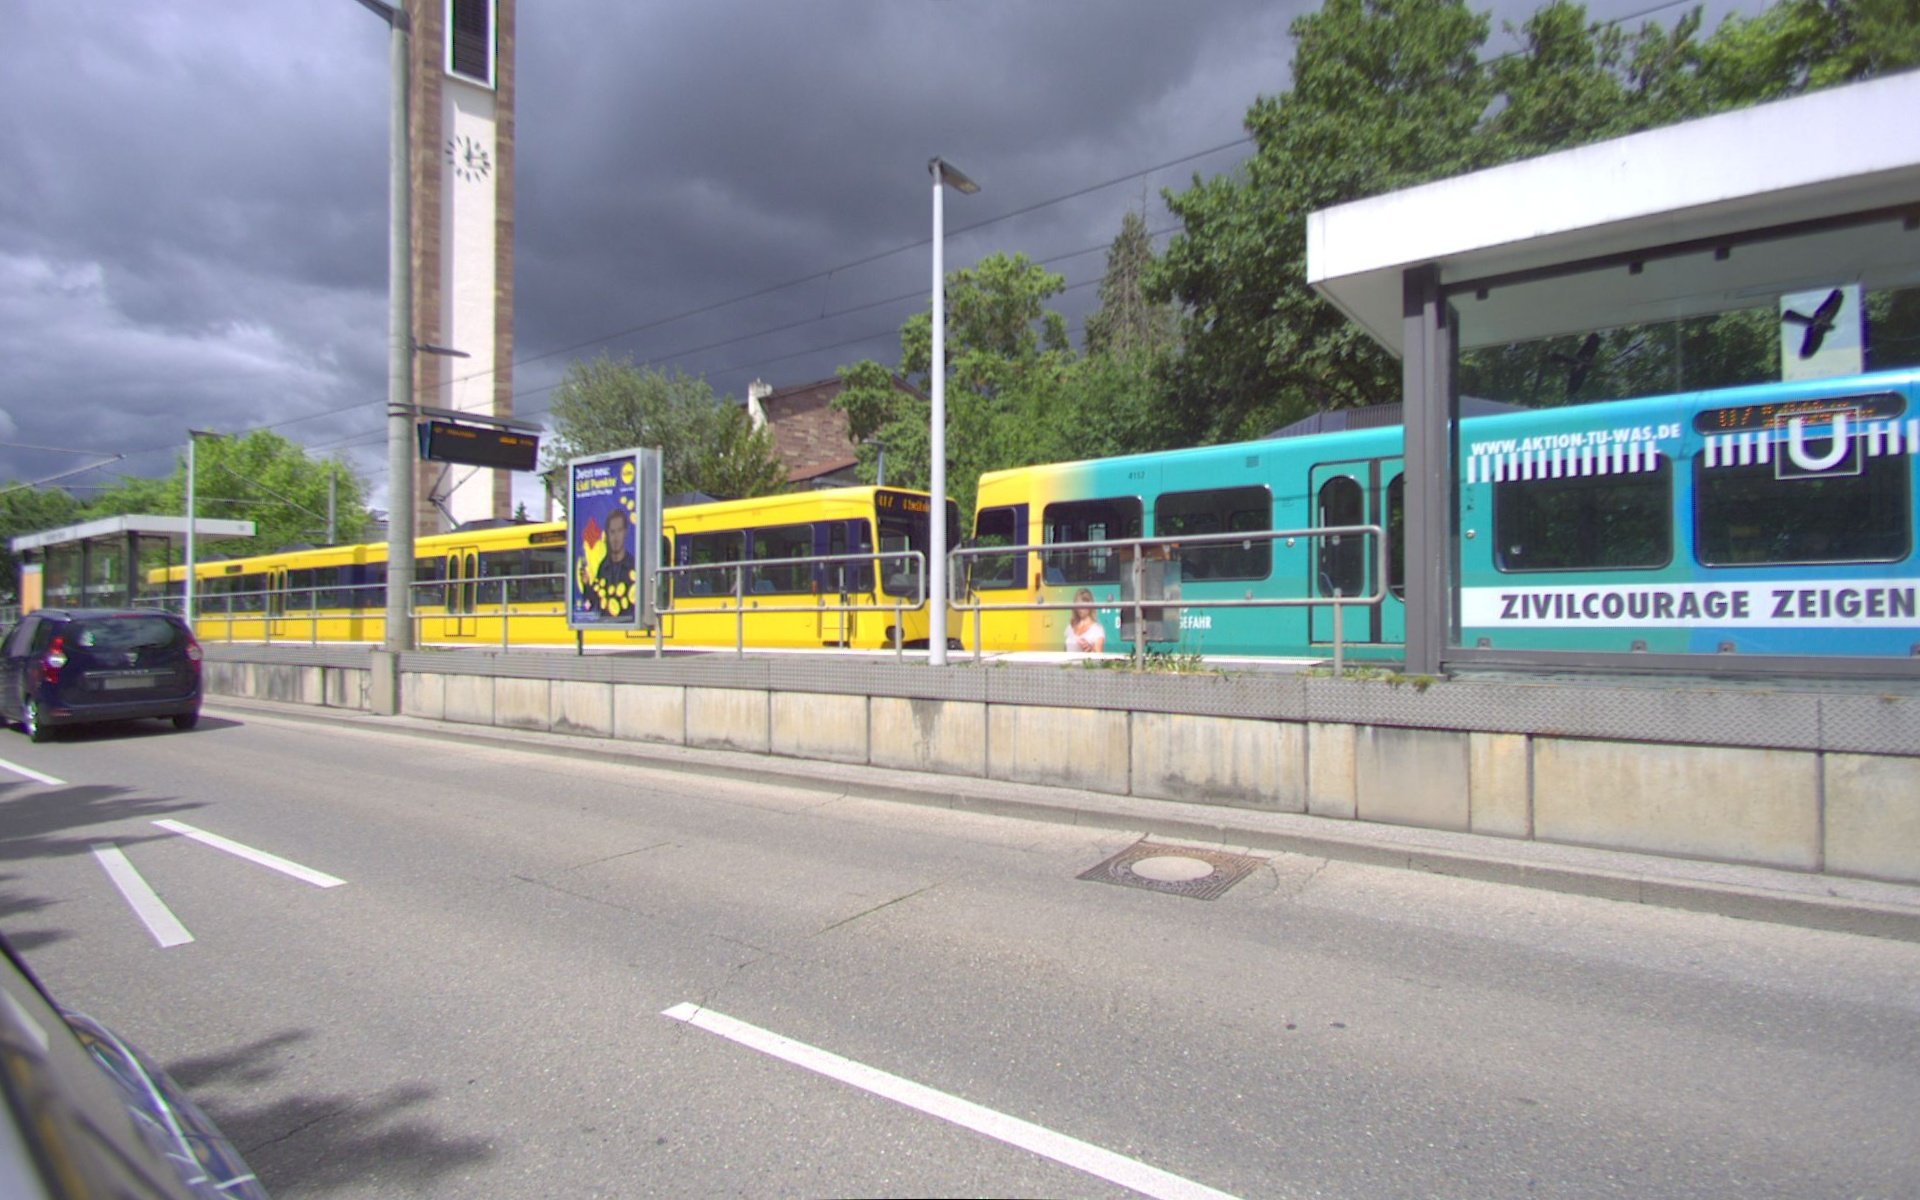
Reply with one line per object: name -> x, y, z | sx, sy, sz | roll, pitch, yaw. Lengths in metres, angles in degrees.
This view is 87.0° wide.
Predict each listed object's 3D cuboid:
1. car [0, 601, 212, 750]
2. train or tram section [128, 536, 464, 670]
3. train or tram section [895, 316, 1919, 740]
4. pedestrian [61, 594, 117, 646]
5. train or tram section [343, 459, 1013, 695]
car -> -11.897, 0.918, 13.677 | 4.380, 1.695, 1.705 | -2, 0, 37
train or tram section -> -22.610, 0.268, 33.338 | 18.792, 3.491, 3.080 | -2, 0, 37
train or tram section -> 7.640, -0.580, 10.448 | 19.164, 3.491, 3.080 | -2, 0, 37
pedestrian -> -20.834, 0.488, 24.207 | 0.917, 1.196, 0.788 | -2, -4, 36
train or tram section -> -7.593, -0.153, 21.960 | 18.962, 3.491, 3.080 | -2, 0, 37
